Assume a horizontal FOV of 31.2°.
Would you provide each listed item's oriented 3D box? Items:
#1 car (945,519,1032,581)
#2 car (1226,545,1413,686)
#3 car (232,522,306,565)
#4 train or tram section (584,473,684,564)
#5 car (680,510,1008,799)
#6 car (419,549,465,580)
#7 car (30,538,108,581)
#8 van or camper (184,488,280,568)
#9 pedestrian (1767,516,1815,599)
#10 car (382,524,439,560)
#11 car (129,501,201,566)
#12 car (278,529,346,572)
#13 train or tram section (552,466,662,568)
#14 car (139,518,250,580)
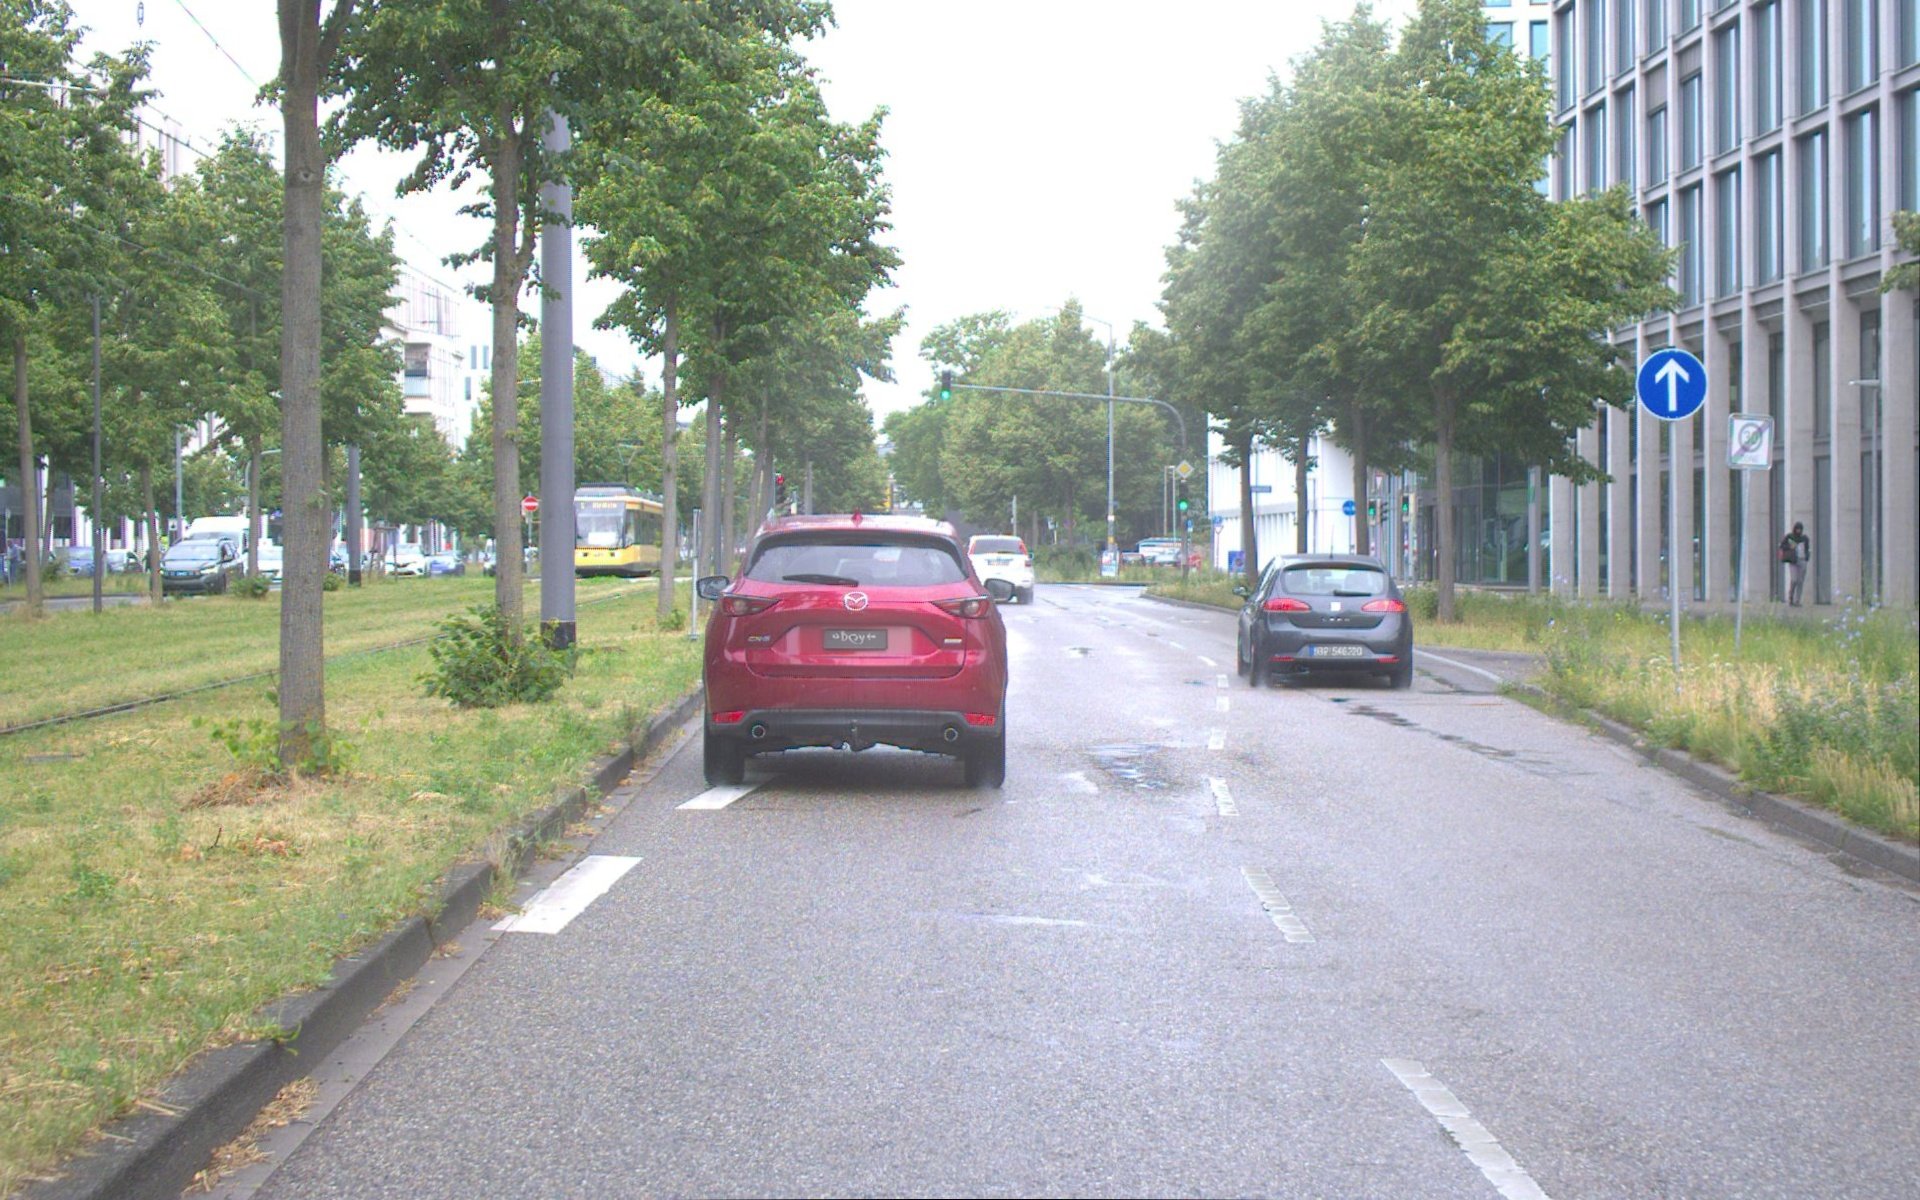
[{"bbox_3d":[0.683,-1.265,85.758,1.967,1.432,4.553,1,1,-2],"label":"car"},{"bbox_3d":[3.944,0.131,38.197,1.743,1.460,3.781,0,1,1],"label":"car"},{"bbox_3d":[-24.213,-1.995,120.616,1.884,1.454,4.001,0,1,-1],"label":"car"},{"bbox_3d":[-13.629,-3.406,144.846,3.128,3.646,15.066,0,1,-1],"label":"train or tram section"},{"bbox_3d":[-0.741,0.274,22.002,1.898,1.671,4.001,0,1,-2],"label":"car"},{"bbox_3d":[-27.338,-1.879,181.515,1.993,1.612,4.001,0,1,-3],"label":"car"},{"bbox_3d":[-31.604,-1.454,122.040,1.993,1.479,4.446,0,1,-5],"label":"car"},{"bbox_3d":[-22.483,-2.234,106.366,1.909,2.402,5.403,0,1,-1],"label":"van or camper"},{"bbox_3d":[17.548,-0.901,72.609,0.717,1.709,0.861,-2,1,-2],"label":"pedestrian"},{"bbox_3d":[-21.603,-2.282,135.211,1.710,1.399,4.001,0,1,-1],"label":"car"},{"bbox_3d":[-32.019,-2.692,138.561,2.255,2.553,4.656,0,1,-5],"label":"car"},{"bbox_3d":[-25.602,-1.969,135.917,1.885,1.454,4.001,7,1,-2],"label":"car"},{"bbox_3d":[-13.293,-3.131,130.661,3.128,3.646,13.408,0,1,-1],"label":"train or tram section"},{"bbox_3d":[-19.140,-1.288,86.120,1.863,1.519,4.479,0,1,-1],"label":"car"}]
